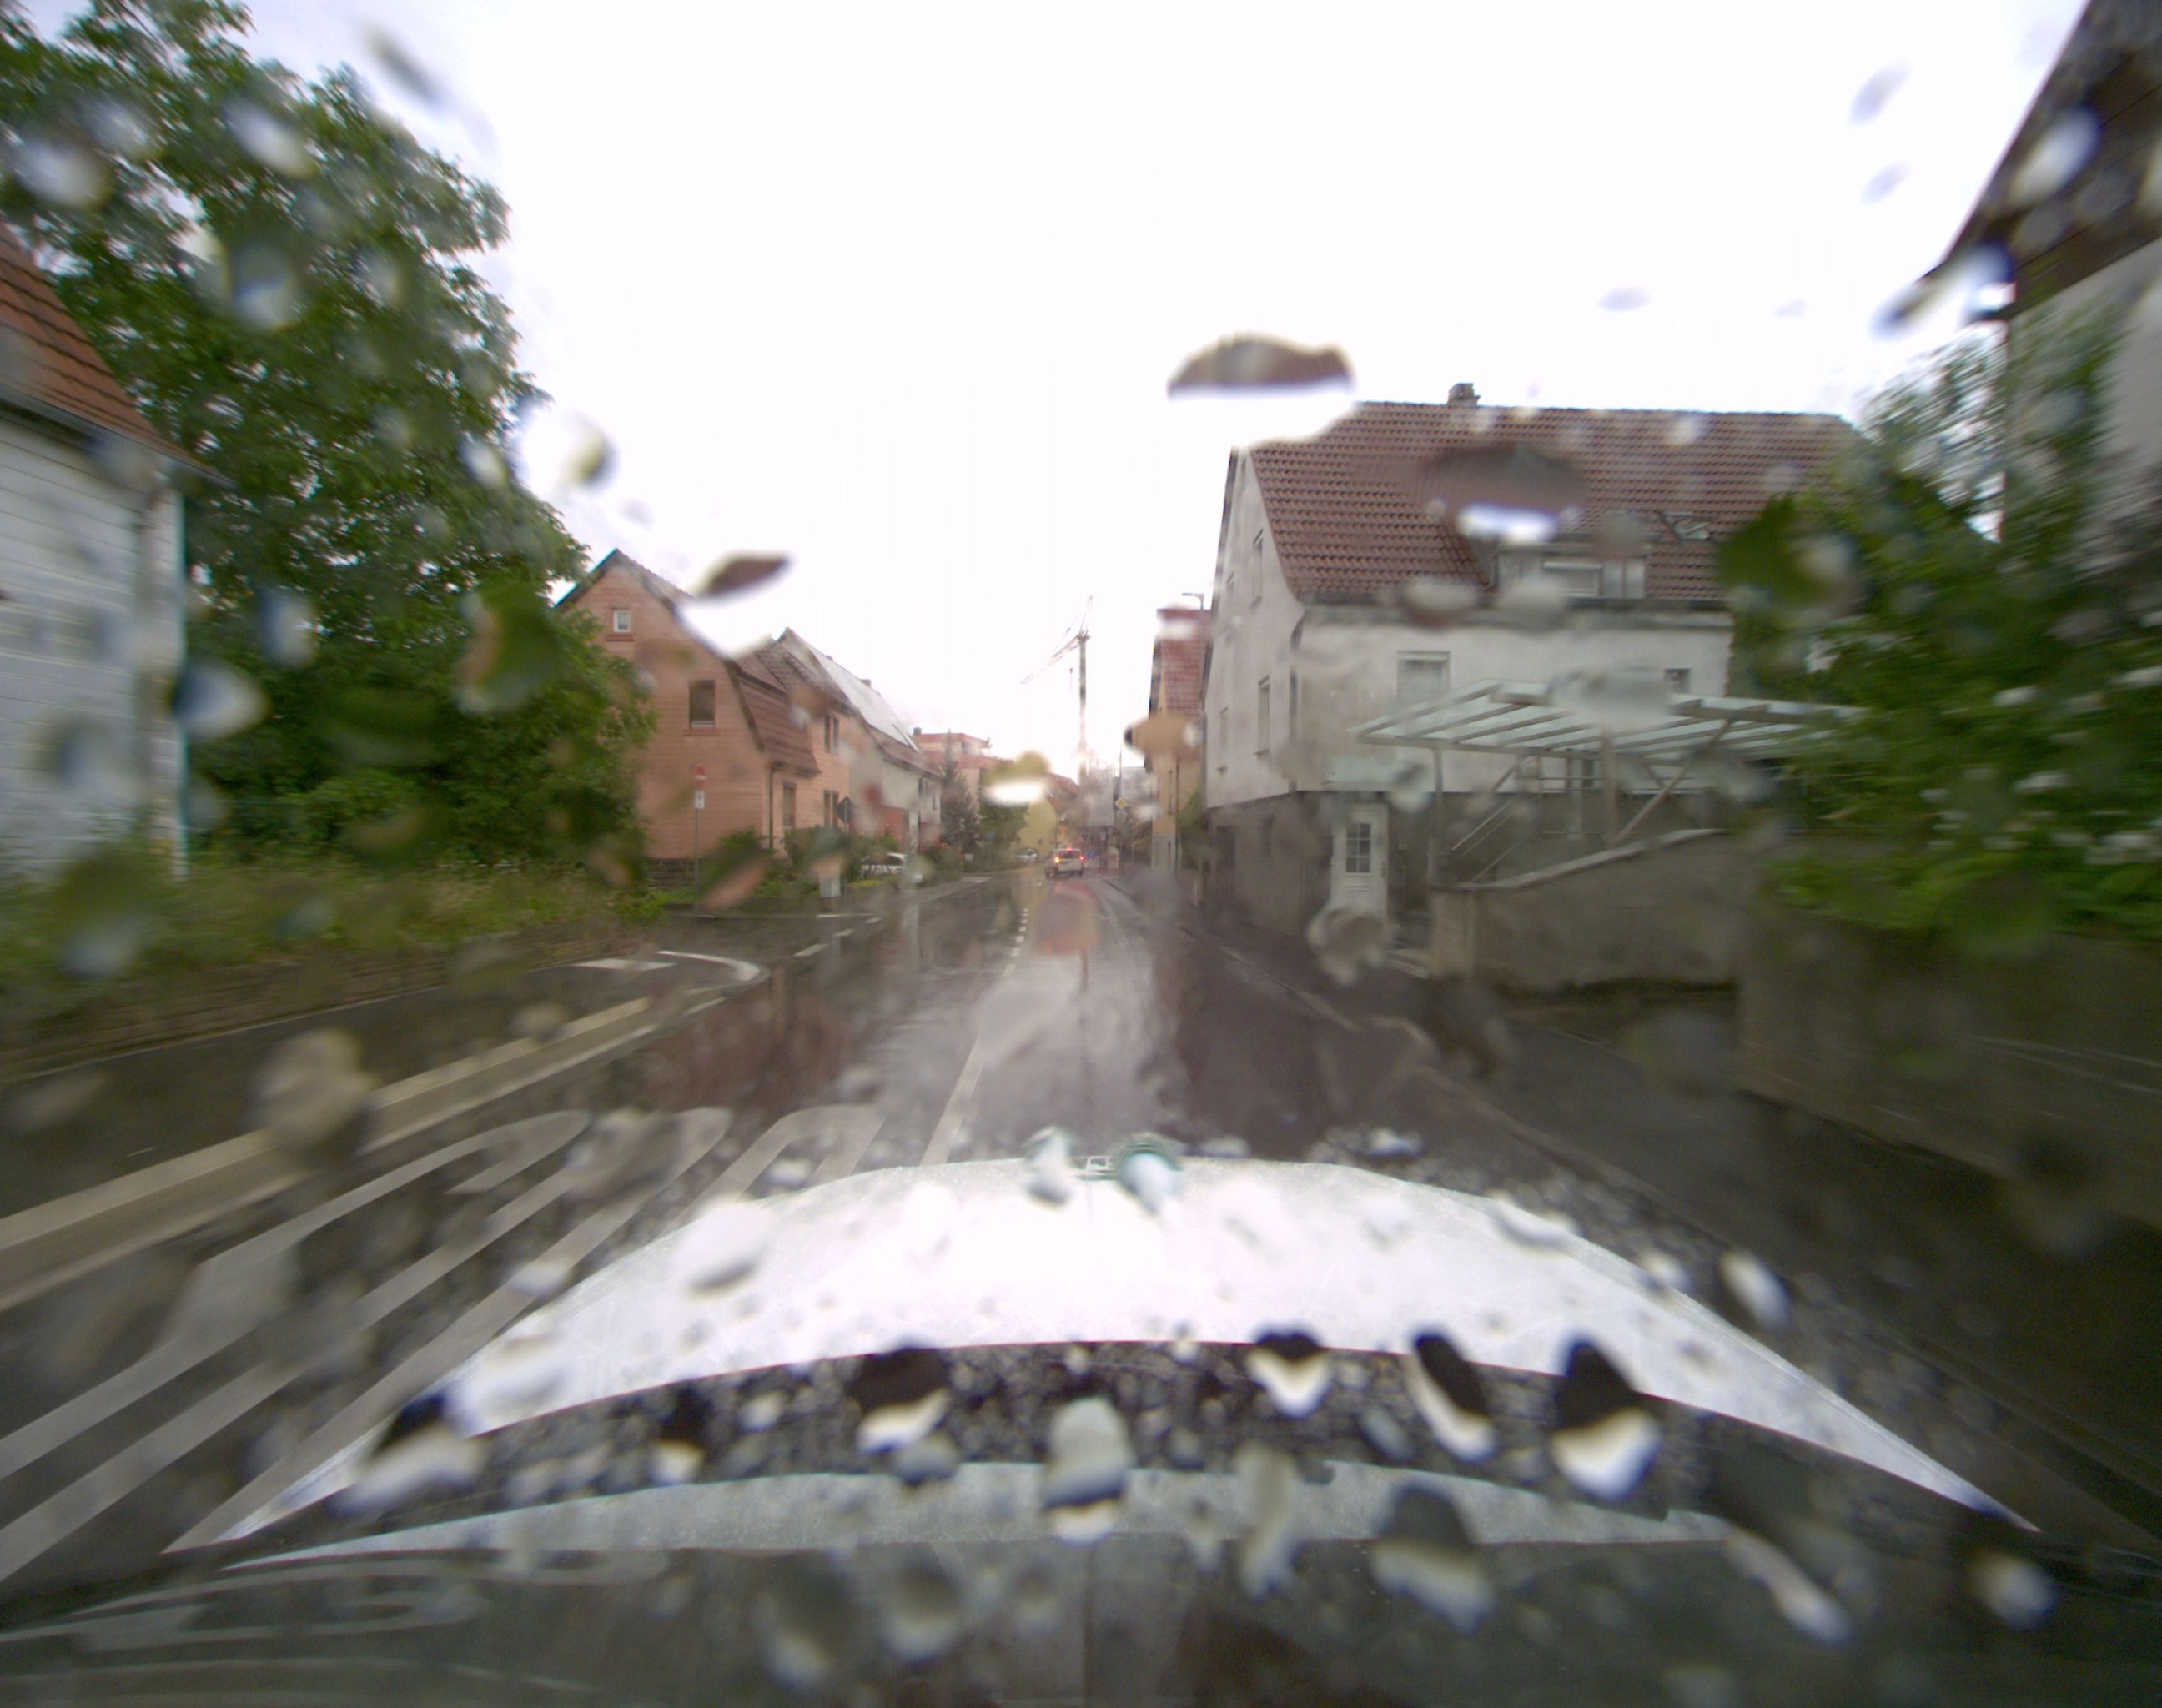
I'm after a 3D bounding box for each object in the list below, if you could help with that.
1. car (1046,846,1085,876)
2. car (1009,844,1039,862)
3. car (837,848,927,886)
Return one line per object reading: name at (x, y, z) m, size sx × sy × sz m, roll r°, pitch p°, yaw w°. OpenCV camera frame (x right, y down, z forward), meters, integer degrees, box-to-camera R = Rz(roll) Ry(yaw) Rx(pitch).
car at (-1.074, 0.466, 53.748) m, size 2.180 × 1.869 × 3.990 m, roll -1°, pitch -1°, yaw -7°
car at (-5.367, -0.111, 77.126) m, size 1.588 × 1.677 × 3.954 m, roll 1°, pitch 1°, yaw 14°
car at (-8.788, 0.574, 36.123) m, size 3.534 × 1.529 × 1.663 m, roll 2°, pitch 0°, yaw -1°
